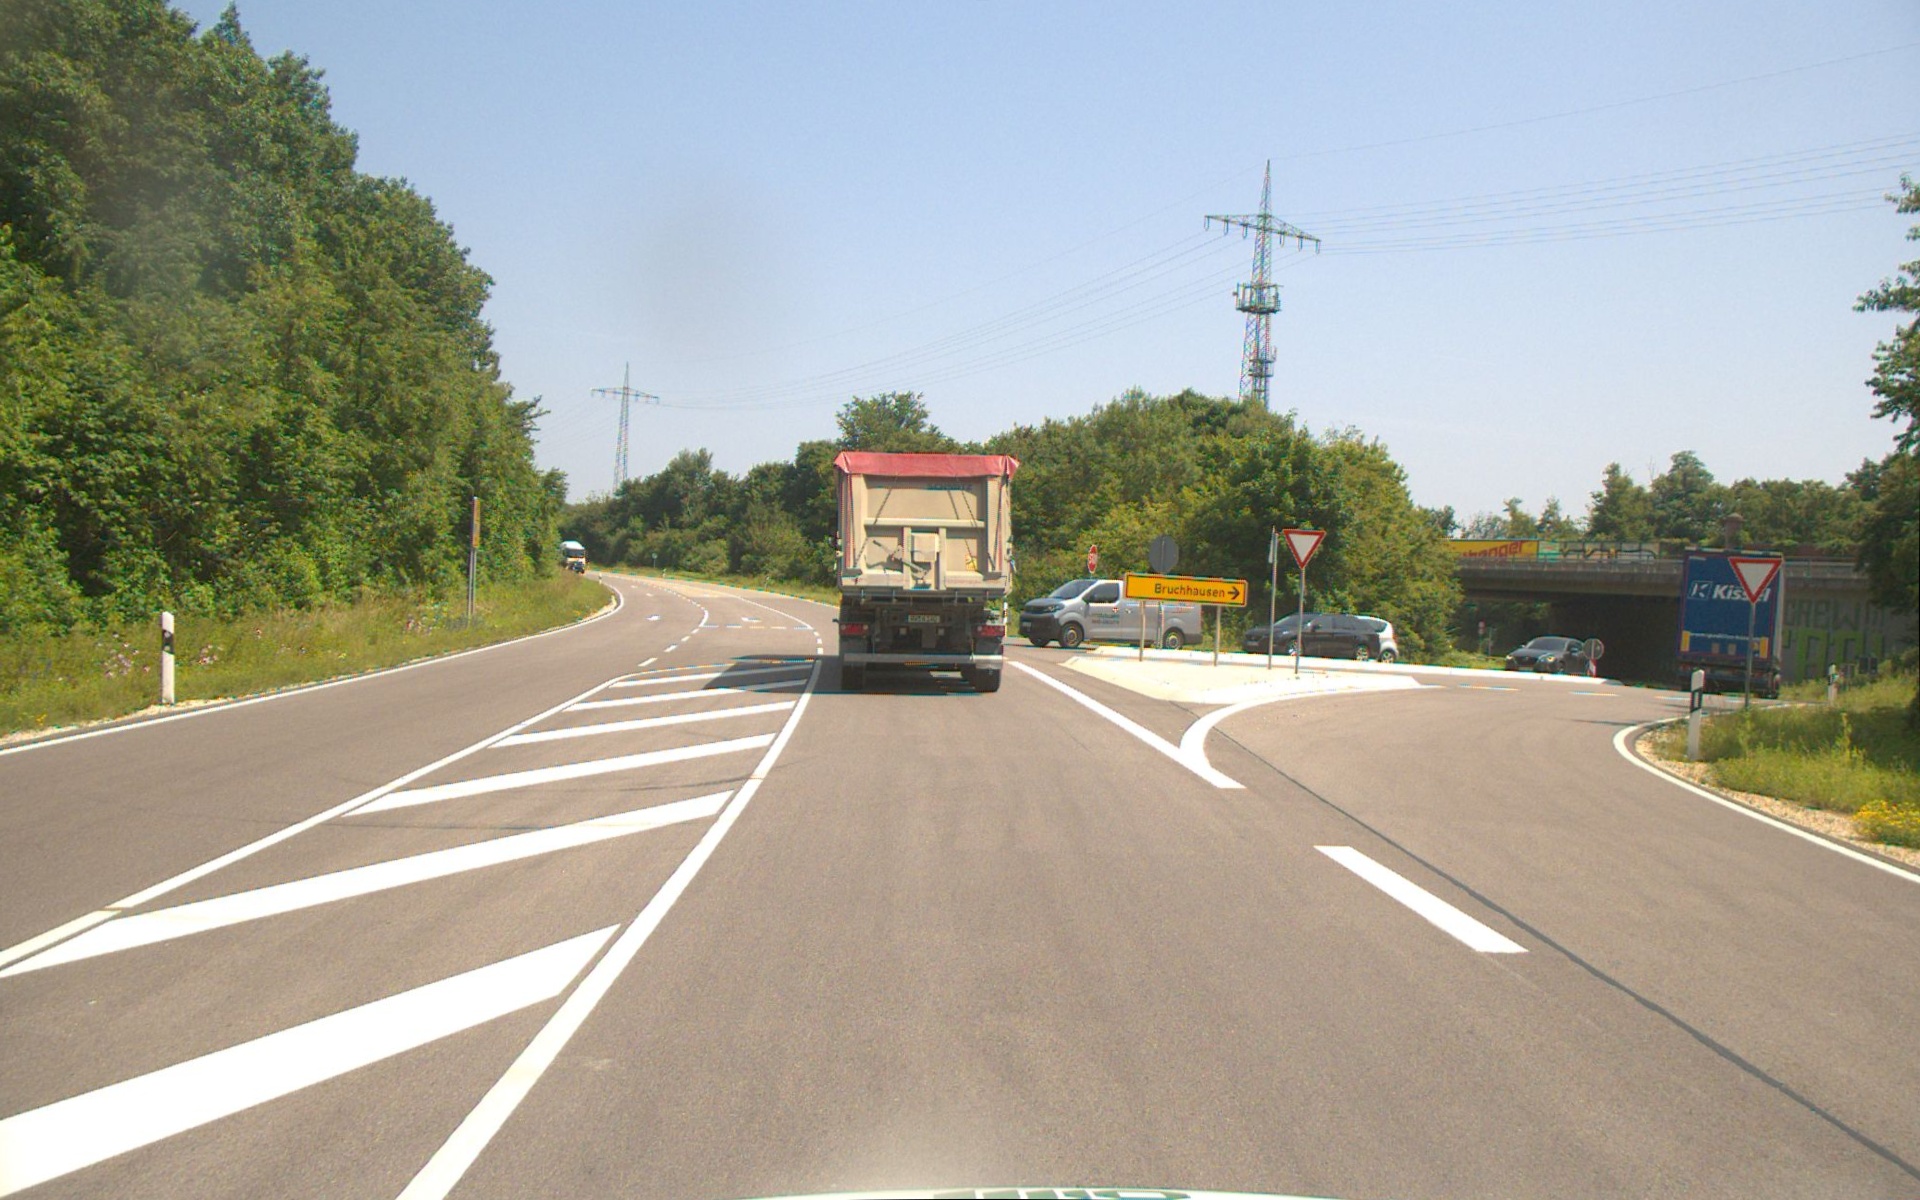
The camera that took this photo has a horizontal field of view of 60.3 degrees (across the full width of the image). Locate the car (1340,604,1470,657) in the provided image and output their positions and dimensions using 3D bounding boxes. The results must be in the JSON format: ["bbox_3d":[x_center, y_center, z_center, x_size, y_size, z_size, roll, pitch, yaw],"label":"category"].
[{"bbox_3d":[14.248,0.963,52.949,3.941,1.607,1.826,1,0,-32],"label":"car"}]

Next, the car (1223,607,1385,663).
[{"bbox_3d":[9.967,1.009,47.861,4.498,1.499,1.851,1,0,-29],"label":"car"}]

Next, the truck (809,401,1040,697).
[{"bbox_3d":[-1.019,-0.800,28.814,2.838,4.031,11.916,1,1,-7],"label":"truck"}]

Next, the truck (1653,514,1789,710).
[{"bbox_3d":[24.768,0.351,53.281,3.297,5.408,15.323,1,0,27],"label":"truck"}]

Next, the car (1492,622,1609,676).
[{"bbox_3d":[19.549,1.618,54.696,4.056,1.626,1.786,3,-1,-39],"label":"car"}]

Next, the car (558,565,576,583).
[{"bbox_3d":[-42.029,-2.784,176.895,1.812,1.810,4.875,1,0,-14],"label":"car"}]

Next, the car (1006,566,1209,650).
[{"bbox_3d":[4.007,0.227,44.875,5.148,1.940,1.997,4,-1,-26],"label":"car"}]

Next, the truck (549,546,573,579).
[{"bbox_3d":[-47.789,-4.484,198.451,2.581,3.735,8.768,1,1,-13],"label":"truck"}]

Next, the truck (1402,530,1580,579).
[{"bbox_3d":[46.521,-3.929,145.955,4.387,3.987,16.558,1,0,-28],"label":"truck"}]
